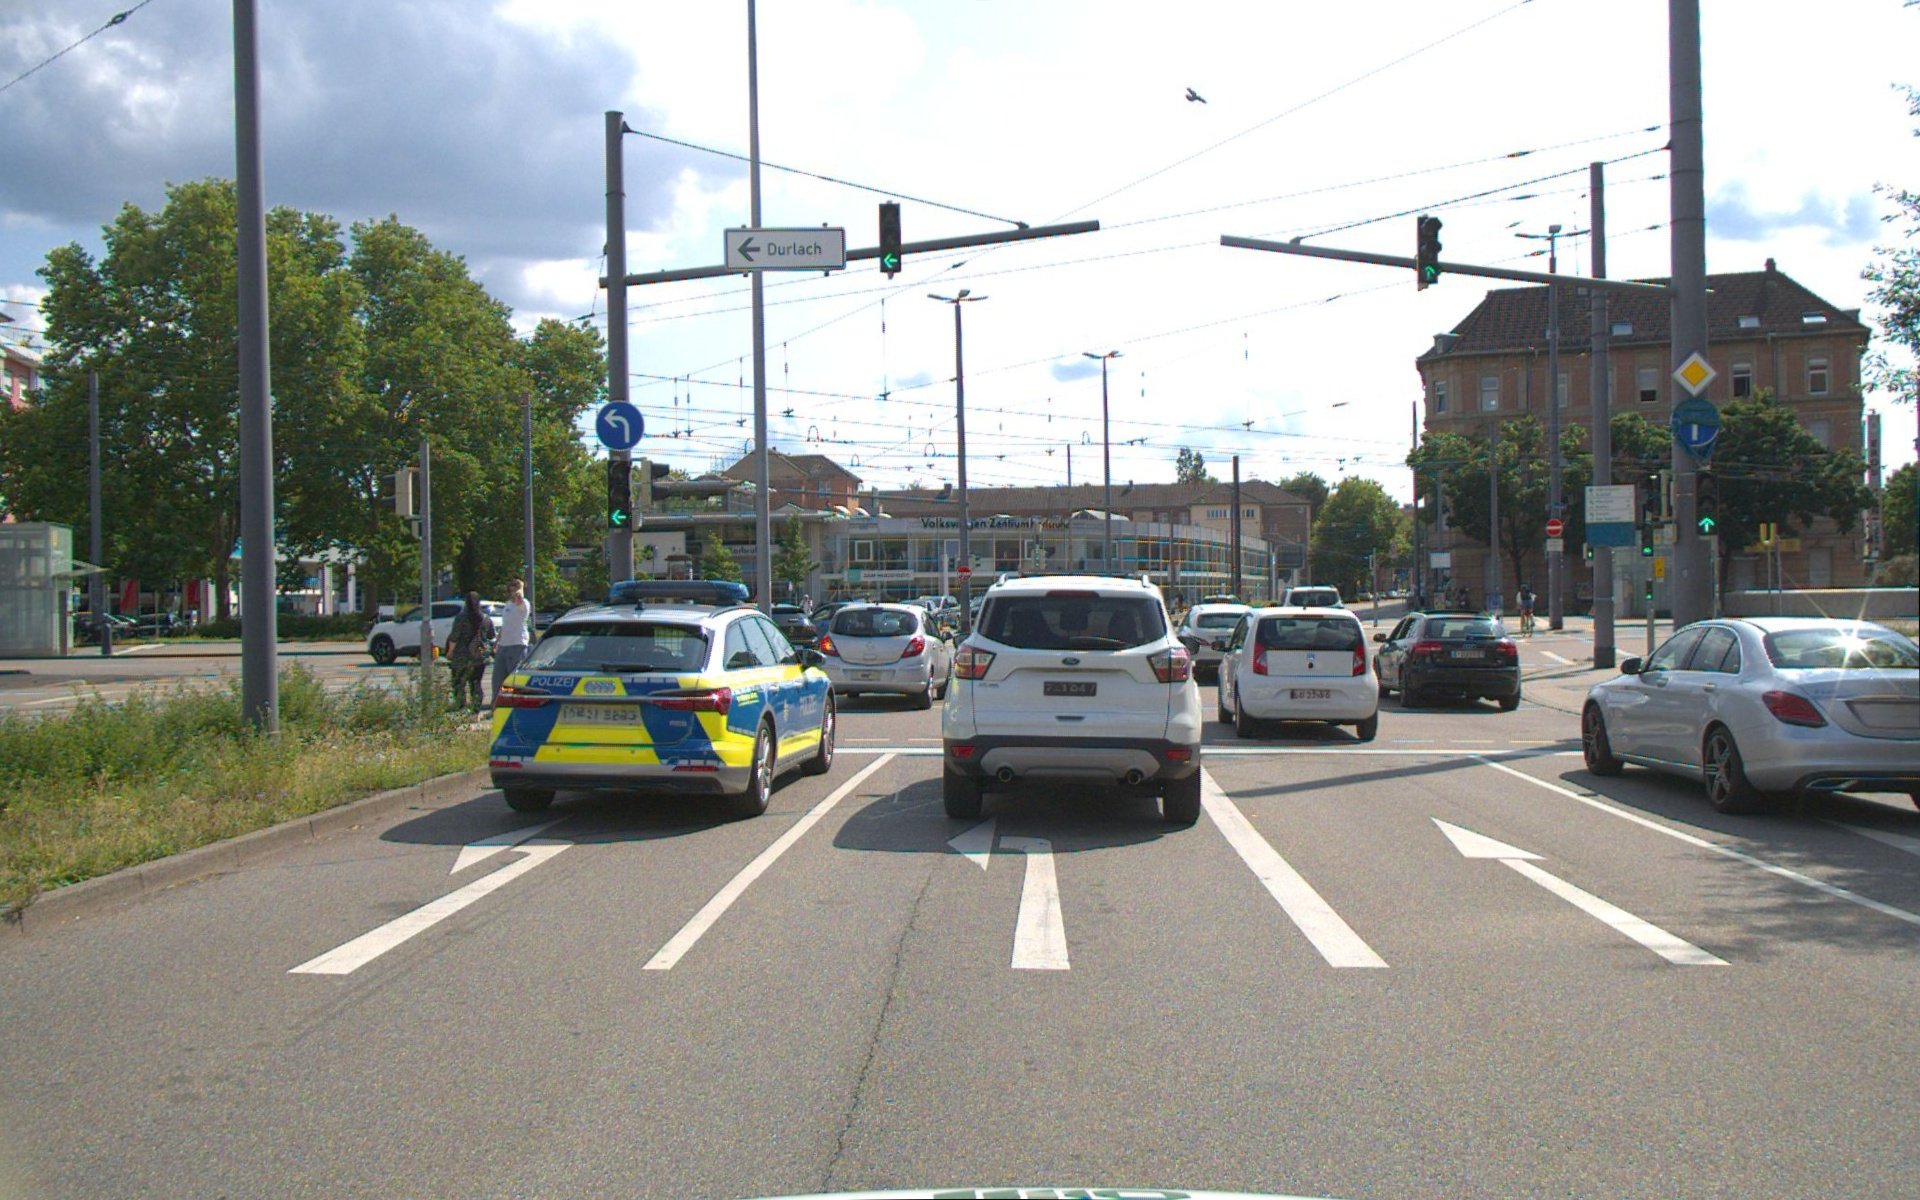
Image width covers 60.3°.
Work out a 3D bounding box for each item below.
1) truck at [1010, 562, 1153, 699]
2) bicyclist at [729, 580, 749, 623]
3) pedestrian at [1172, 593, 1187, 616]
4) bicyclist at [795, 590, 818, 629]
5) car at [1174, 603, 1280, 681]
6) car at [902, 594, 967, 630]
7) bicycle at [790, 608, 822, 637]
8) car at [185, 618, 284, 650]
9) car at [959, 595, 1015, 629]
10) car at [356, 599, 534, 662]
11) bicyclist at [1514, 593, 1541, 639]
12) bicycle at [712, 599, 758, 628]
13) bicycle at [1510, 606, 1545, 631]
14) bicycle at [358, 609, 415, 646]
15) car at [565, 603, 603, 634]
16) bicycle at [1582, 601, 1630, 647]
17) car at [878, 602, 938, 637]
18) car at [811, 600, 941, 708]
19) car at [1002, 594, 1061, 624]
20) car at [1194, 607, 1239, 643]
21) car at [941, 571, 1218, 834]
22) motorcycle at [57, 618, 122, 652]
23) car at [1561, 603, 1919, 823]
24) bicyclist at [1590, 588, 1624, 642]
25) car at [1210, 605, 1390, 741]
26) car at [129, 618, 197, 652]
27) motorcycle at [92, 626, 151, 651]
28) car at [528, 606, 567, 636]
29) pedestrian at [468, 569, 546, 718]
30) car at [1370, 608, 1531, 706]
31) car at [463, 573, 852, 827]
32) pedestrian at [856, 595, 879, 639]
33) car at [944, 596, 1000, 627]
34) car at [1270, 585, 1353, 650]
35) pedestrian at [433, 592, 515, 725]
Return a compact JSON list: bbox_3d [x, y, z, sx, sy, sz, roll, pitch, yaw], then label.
[{"bbox_3d":[2.204,0.491,29.518,2.289,2.193,5.855,0,0,5],"label":"truck"},{"bbox_3d":[-9.003,0.052,67.497,0.646,1.768,0.640,0,0,8],"label":"bicyclist"},{"bbox_3d":[17.751,0.365,133.673,0.860,1.768,0.873,0,-1,35],"label":"pedestrian"},{"bbox_3d":[-6.762,0.413,72.778,0.743,1.712,0.761,-2,0,13],"label":"bicyclist"},{"bbox_3d":[5.151,0.785,32.342,1.811,1.444,3.681,0,0,5],"label":"car"},{"bbox_3d":[-1.208,0.575,80.201,1.702,1.600,4.000,-2,0,21],"label":"car"},{"bbox_3d":[-6.768,0.969,72.708,0.743,1.213,2.152,-2,0,13],"label":"bicycle"},{"bbox_3d":[-34.259,1.605,78.193,3.908,1.350,1.632,-2,-1,-3],"label":"car"},{"bbox_3d":[1.335,0.557,79.679,1.653,1.487,3.971,-2,0,16],"label":"car"},{"bbox_3d":[-13.862,0.795,44.476,4.437,1.606,2.044,0,0,28],"label":"car"},{"bbox_3d":[18.254,0.516,53.188,0.595,1.476,0.774,-1,-1,1],"label":"bicyclist"},{"bbox_3d":[-9.165,0.553,67.524,1.740,1.145,0.640,0,0,8],"label":"bicycle"},{"bbox_3d":[18.248,0.593,53.236,0.572,0.789,1.621,-1,0,1],"label":"bicycle"},{"bbox_3d":[-23.160,1.100,66.785,2.133,1.439,0.809,0,0,-17],"label":"bicycle"},{"bbox_3d":[-26.232,1.331,115.428,1.955,2.049,4.226,-2,-1,-5],"label":"car"},{"bbox_3d":[15.568,0.568,39.900,0.829,0.987,1.962,-4,0,16],"label":"bicycle"},{"bbox_3d":[-2.240,0.836,72.175,1.700,1.397,3.644,-2,0,12],"label":"car"},{"bbox_3d":[-1.242,0.764,25.228,1.810,1.500,3.998,0,0,-2],"label":"car"},{"bbox_3d":[3.728,0.451,86.147,1.860,1.487,3.969,-2,0,21],"label":"car"},{"bbox_3d":[10.725,1.029,69.269,1.810,1.444,3.682,0,0,8],"label":"car"},{"bbox_3d":[0.858,0.671,12.686,1.789,1.693,3.956,0,0,2],"label":"car"},{"bbox_3d":[-33.499,1.344,63.625,2.165,1.259,0.906,-1,1,17],"label":"motorcycle"},{"bbox_3d":[6.672,0.774,13.594,1.890,1.481,4.760,0,0,2],"label":"car"},{"bbox_3d":[15.538,0.361,39.749,0.621,1.241,0.924,-3,0,16],"label":"bicyclist"},{"bbox_3d":[4.073,0.821,20.370,1.615,1.446,4.002,-2,0,4],"label":"car"},{"bbox_3d":[-36.101,1.590,75.011,1.872,1.438,3.987,-2,-1,-13],"label":"car"},{"bbox_3d":[-34.696,1.570,68.440,0.795,0.933,2.037,-1,1,35],"label":"motorcycle"},{"bbox_3d":[-28.840,1.471,115.624,1.929,1.971,4.226,-2,-1,-5],"label":"car"},{"bbox_3d":[-6.070,0.579,22.180,0.830,1.950,0.692,-1,-1,-2],"label":"pedestrian"},{"bbox_3d":[7.636,0.837,26.097,1.663,1.396,4.135,0,0,6],"label":"car"},{"bbox_3d":[-2.087,0.672,12.852,1.840,1.596,4.617,-1,-1,4],"label":"car"},{"bbox_3d":[-3.823,0.701,68.275,0.905,1.774,0.589,1,-1,0],"label":"pedestrian"},{"bbox_3d":[0.668,0.607,86.840,1.592,1.487,3.969,-2,0,21],"label":"car"},{"bbox_3d":[9.481,0.491,44.843,1.797,1.681,4.002,0,-1,6],"label":"car"},{"bbox_3d":[-6.287,0.752,21.423,0.830,1.677,0.692,-1,-1,-2],"label":"pedestrian"}]
